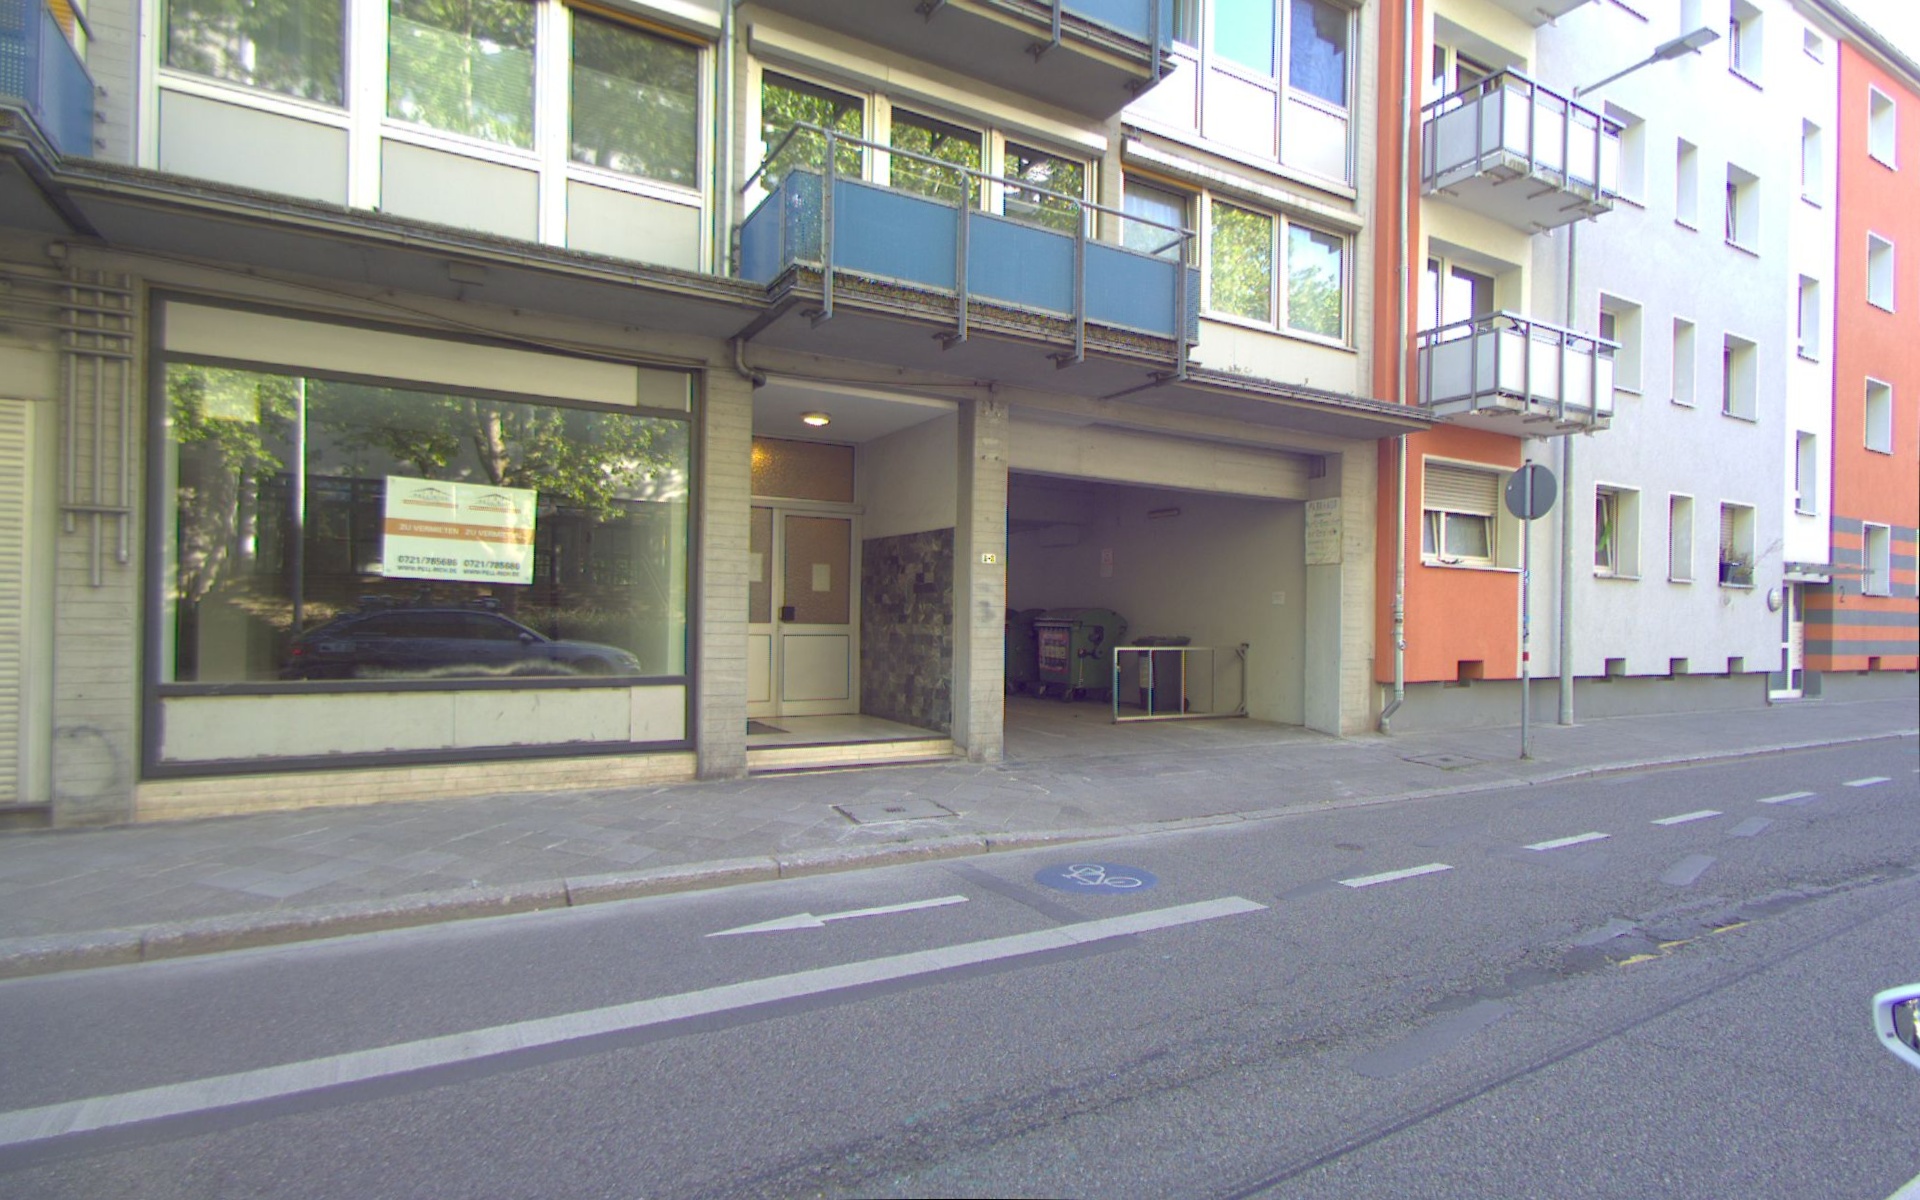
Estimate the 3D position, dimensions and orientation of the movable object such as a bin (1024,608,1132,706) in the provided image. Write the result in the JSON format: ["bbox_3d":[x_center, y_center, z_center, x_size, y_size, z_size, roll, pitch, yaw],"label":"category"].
[{"bbox_3d":[1.848,0.864,15.854,1.128,1.449,1.342,1,0,-28],"label":"movable object such as a bin"}]

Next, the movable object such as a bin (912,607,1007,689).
[{"bbox_3d":[-0.032,0.869,18.879,1.119,1.449,1.666,1,-1,-28],"label":"movable object such as a bin"}]

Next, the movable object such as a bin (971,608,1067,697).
[{"bbox_3d":[0.996,0.871,17.176,1.119,1.449,1.322,1,0,-28],"label":"movable object such as a bin"}]

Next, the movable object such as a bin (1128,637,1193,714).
[{"bbox_3d":[2.898,1.077,14.535,0.695,1.055,0.593,2,0,-30],"label":"movable object such as a bin"}]
